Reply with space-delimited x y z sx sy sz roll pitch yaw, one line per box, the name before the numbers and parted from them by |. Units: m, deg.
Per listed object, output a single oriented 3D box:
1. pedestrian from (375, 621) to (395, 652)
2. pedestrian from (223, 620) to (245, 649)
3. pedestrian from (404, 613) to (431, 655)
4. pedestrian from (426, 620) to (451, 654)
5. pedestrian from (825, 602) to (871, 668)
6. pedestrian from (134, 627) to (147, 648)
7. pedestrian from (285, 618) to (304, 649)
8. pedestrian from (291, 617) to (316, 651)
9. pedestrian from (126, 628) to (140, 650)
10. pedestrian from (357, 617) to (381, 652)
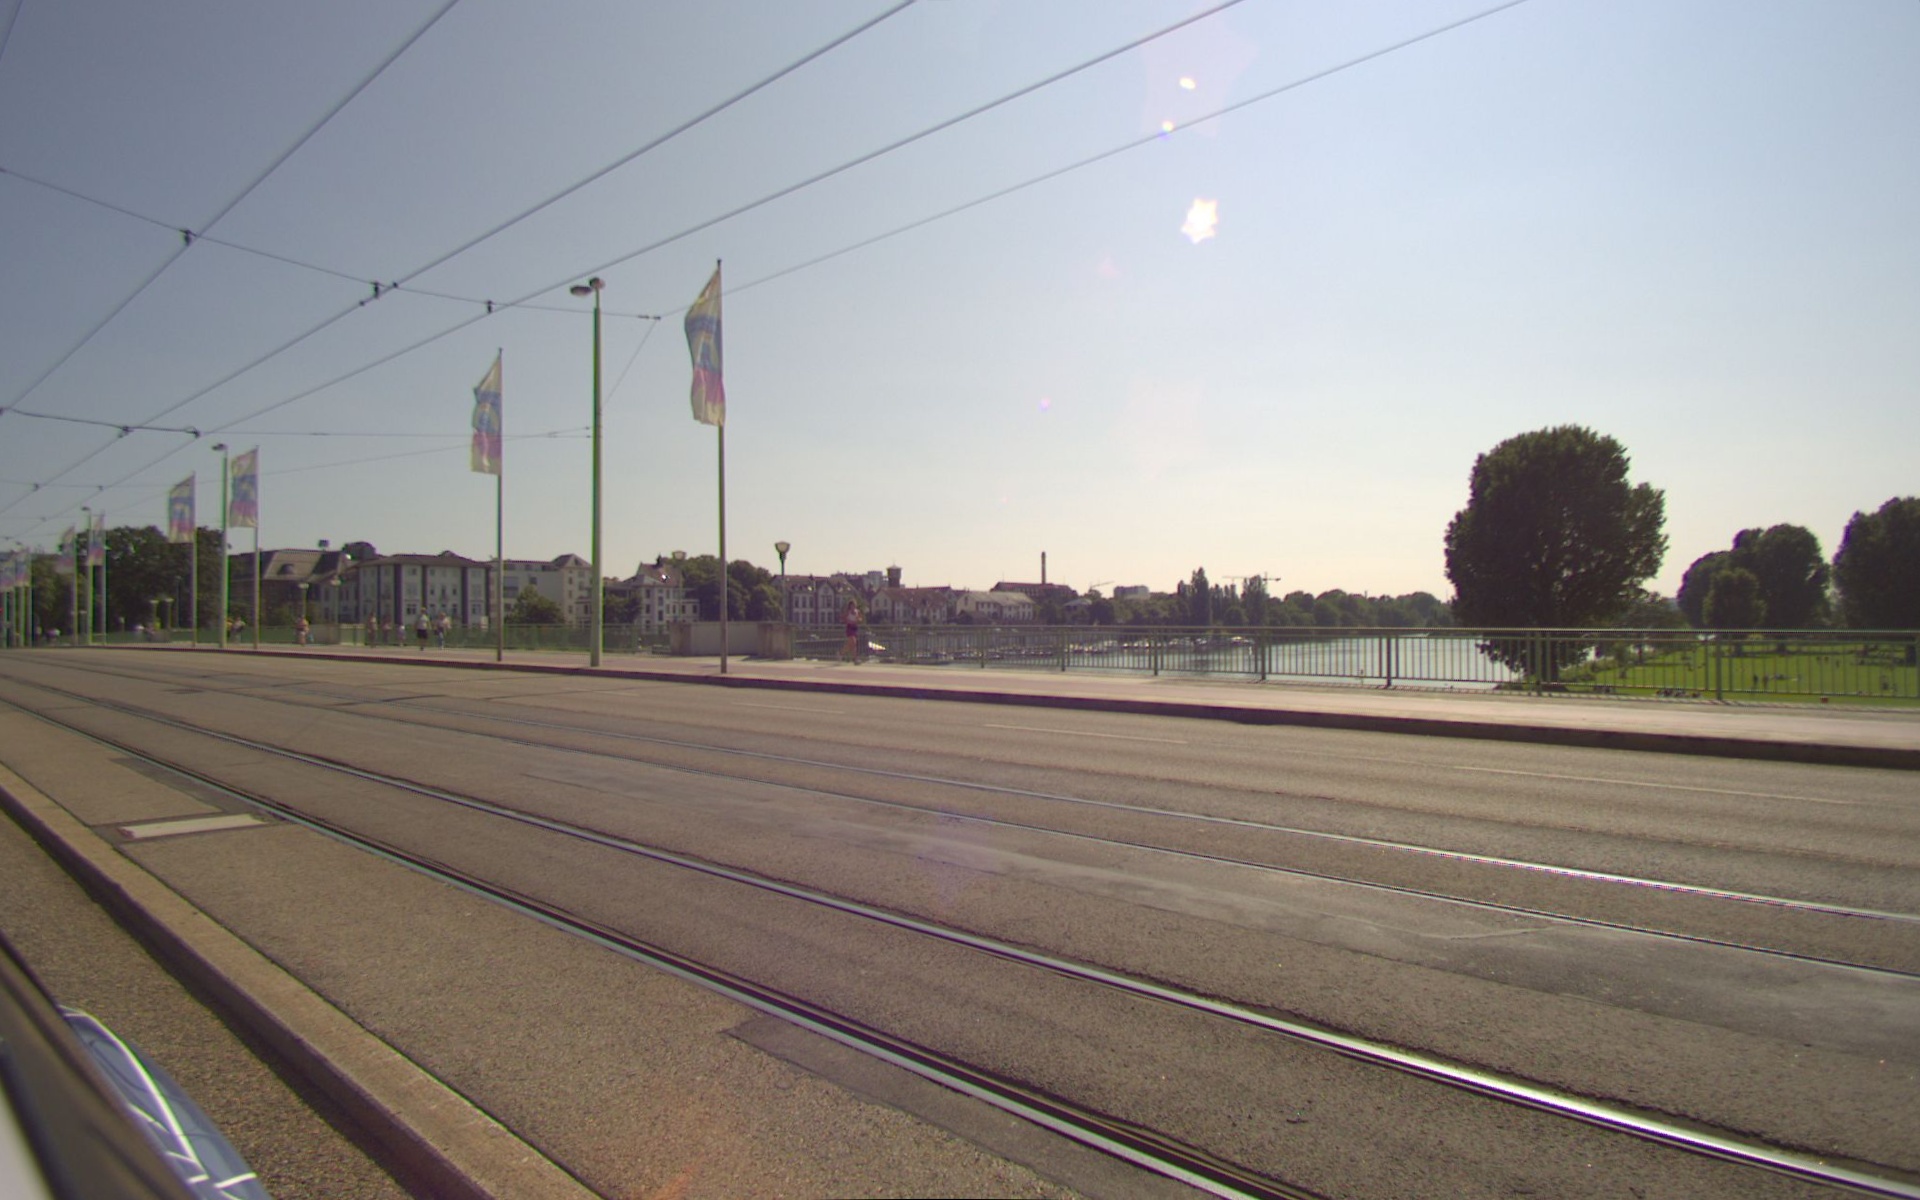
pedestrian | -27.490 1.724 48.393 0.788 1.448 0.540 -1 0 41
pedestrian | -44.112 2.096 61.489 1.022 1.712 0.777 -1 1 41
pedestrian | -23.004 1.442 42.892 1.022 1.712 0.663 -1 0 41
pedestrian | -22.496 1.572 43.612 1.022 1.425 0.584 -1 0 41
pedestrian | -3.016 0.929 27.155 1.022 1.703 0.677 -1 0 41
pedestrian | -66.841 3.054 82.571 0.904 1.712 0.584 -2 3 41
pedestrian | -37.380 1.875 56.809 1.022 1.712 0.584 -1 0 41
pedestrian | -34.507 1.794 53.186 1.022 1.712 0.777 -1 1 41
pedestrian | -67.039 3.148 82.001 1.022 1.712 0.584 -2 3 41
pedestrian | -27.978 1.622 47.901 1.022 1.611 0.620 -1 0 41
